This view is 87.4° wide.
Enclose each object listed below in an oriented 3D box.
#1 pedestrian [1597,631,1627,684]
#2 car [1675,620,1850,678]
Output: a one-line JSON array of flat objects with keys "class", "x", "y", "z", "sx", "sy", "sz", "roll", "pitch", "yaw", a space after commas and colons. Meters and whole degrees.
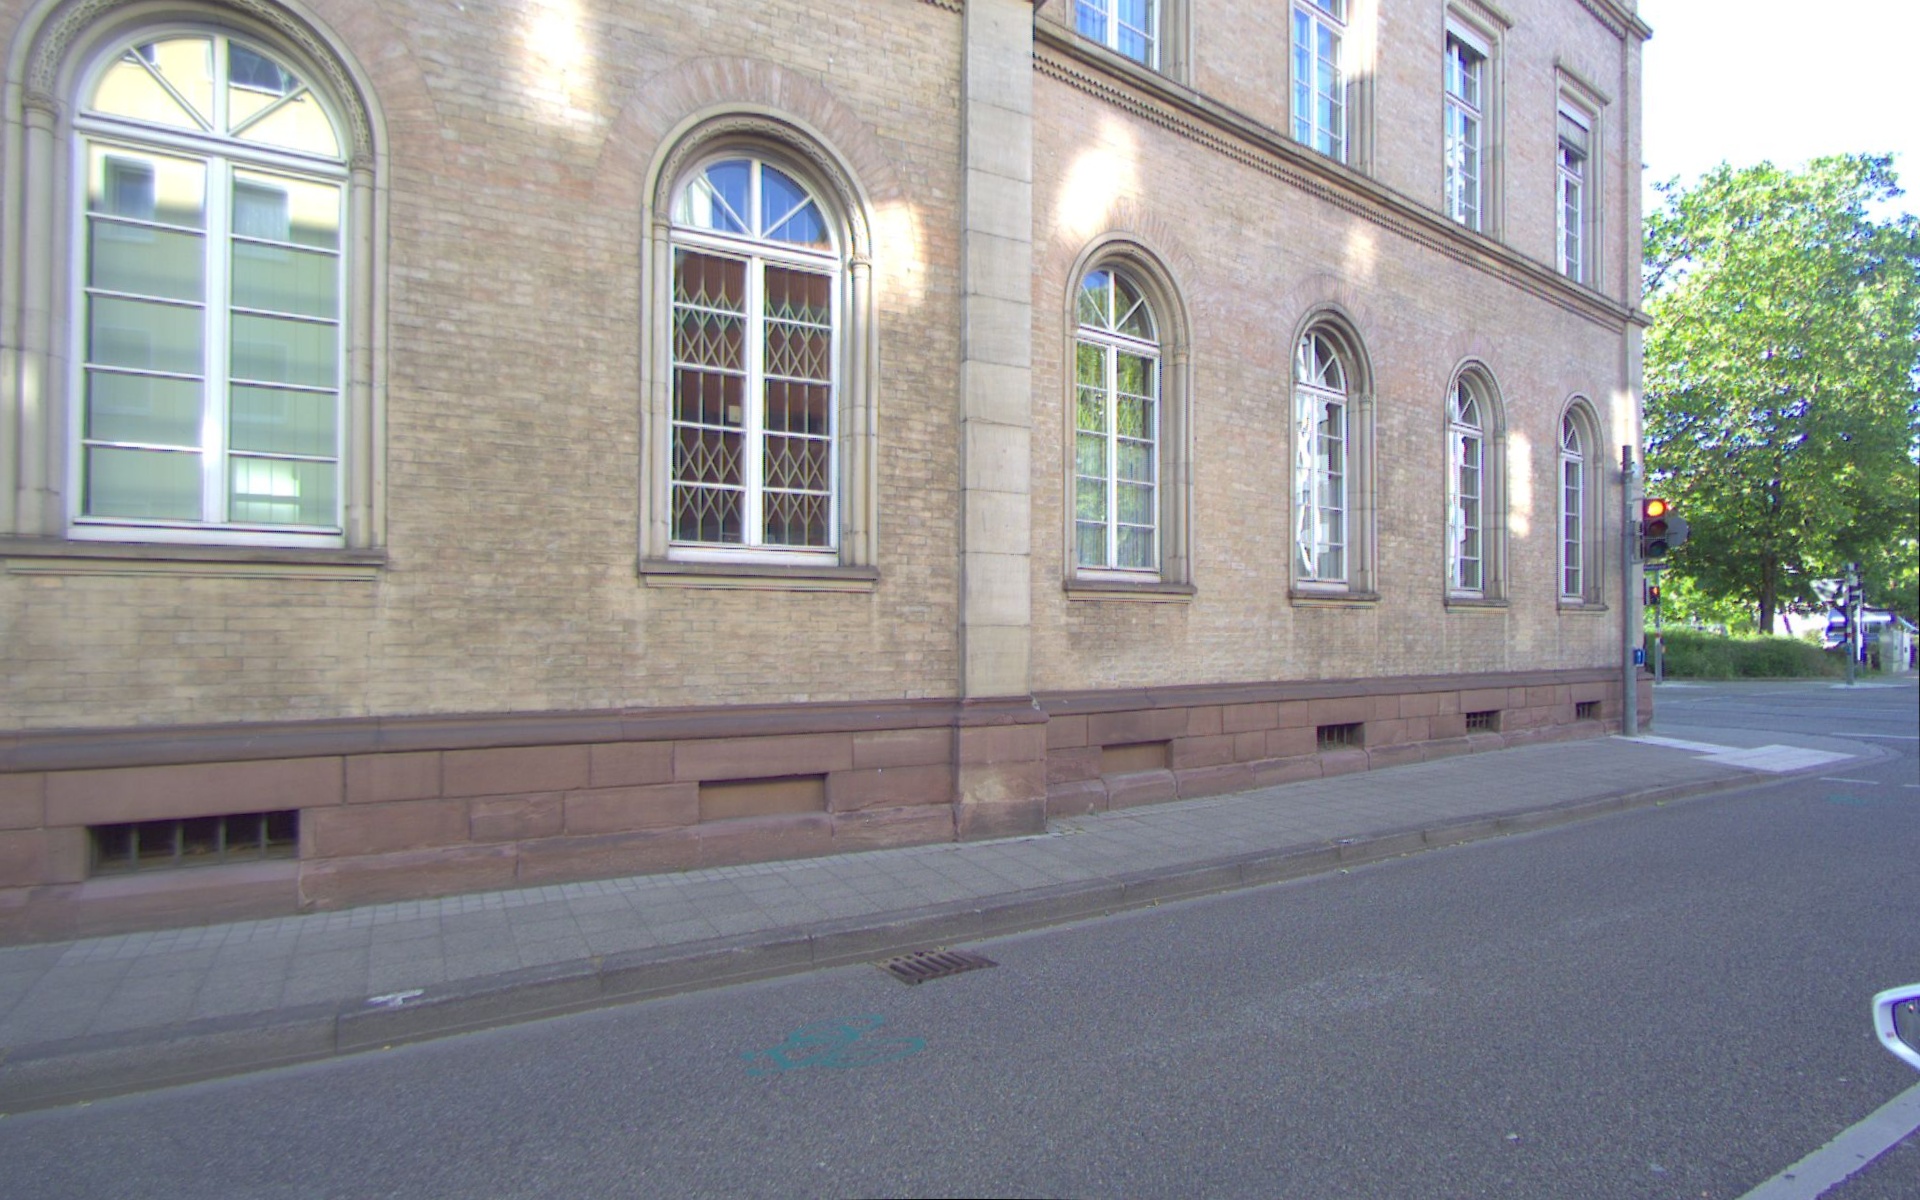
[{"class": "pedestrian", "x": 20.073, "y": 1.765, "z": 30.938, "sx": 0.701, "sy": 1.620, "sz": 0.616, "roll": -1, "pitch": -1, "yaw": 28}, {"class": "car", "x": 26.336, "y": 1.563, "z": 33.102, "sx": 1.888, "sy": 1.801, "sz": 4.193, "roll": 1, "pitch": -2, "yaw": -37}]
